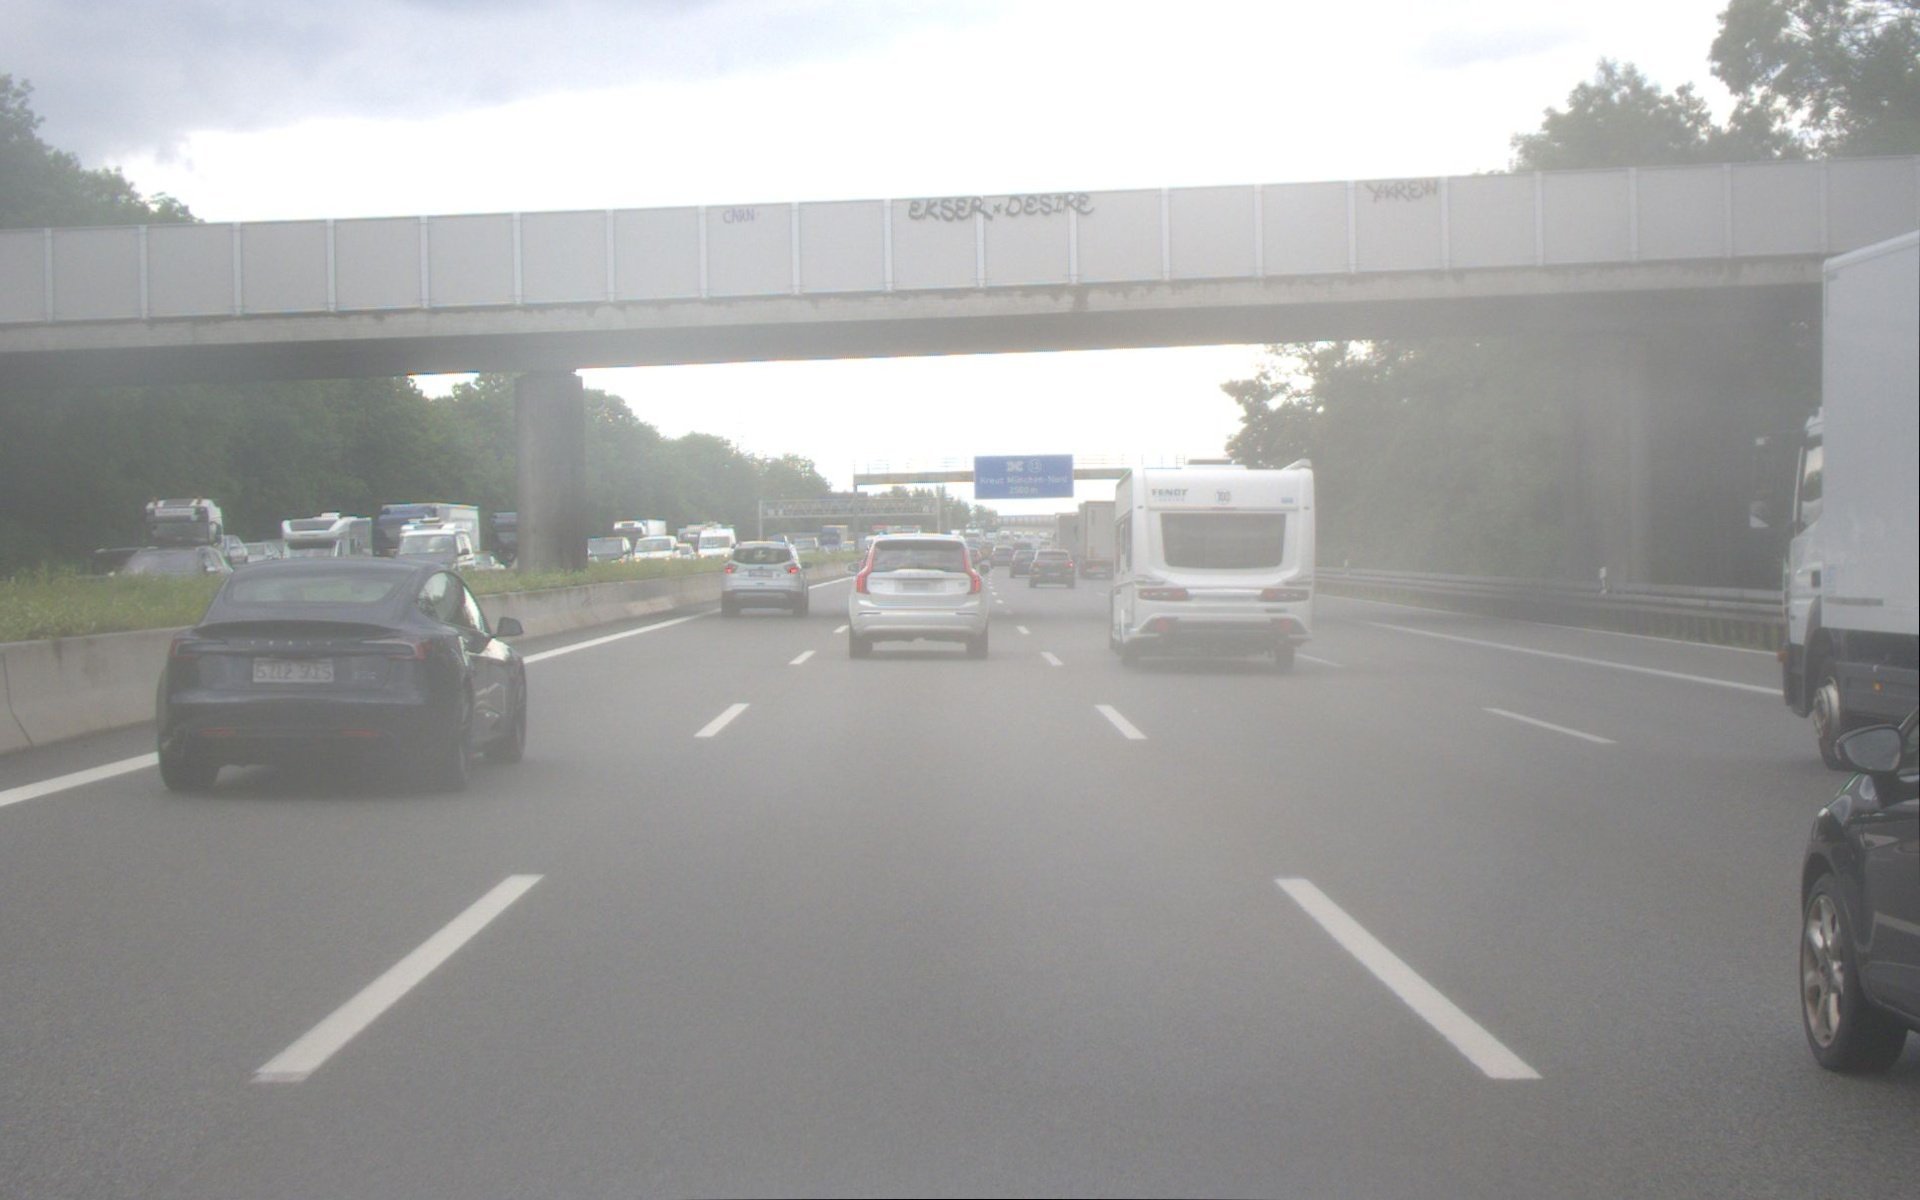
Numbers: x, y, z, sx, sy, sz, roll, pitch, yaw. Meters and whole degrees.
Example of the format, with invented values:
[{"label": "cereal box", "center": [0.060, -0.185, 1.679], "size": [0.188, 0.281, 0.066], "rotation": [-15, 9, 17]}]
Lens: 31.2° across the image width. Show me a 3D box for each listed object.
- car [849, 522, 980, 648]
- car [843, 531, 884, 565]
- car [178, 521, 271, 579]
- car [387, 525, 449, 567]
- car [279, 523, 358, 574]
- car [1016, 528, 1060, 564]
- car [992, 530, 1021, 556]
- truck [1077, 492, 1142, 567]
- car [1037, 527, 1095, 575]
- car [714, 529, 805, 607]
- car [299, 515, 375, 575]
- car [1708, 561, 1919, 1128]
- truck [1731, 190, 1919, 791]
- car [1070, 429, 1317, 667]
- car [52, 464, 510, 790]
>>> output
[{"label": "car", "center": [-0.636, -0.245, 49.155], "size": [1.781, 1.710, 4.353], "rotation": [0, 1, 0]}, {"label": "car", "center": [-4.285, -2.337, 152.785], "size": [1.781, 1.476, 4.353], "rotation": [0, 1, -1]}, {"label": "car", "center": [-25.303, -1.723, 118.389], "size": [2.220, 1.945, 4.829], "rotation": [0, 1, -1]}, {"label": "car", "center": [-25.627, -2.587, 162.784], "size": [2.220, 1.945, 4.829], "rotation": [0, 1, -1]}, {"label": "car", "center": [-24.948, -2.014, 133.800], "size": [2.220, 1.945, 4.829], "rotation": [0, 1, -1]}, {"label": "car", "center": [4.007, -2.775, 177.239], "size": [2.043, 1.817, 4.904], "rotation": [0, 1, -1]}, {"label": "car", "center": [3.282, -4.056, 244.409], "size": [2.043, 1.817, 4.904], "rotation": [0, 1, 0]}, {"label": "truck", "center": [7.699, -3.648, 177.913], "size": [2.906, 3.797, 7.274], "rotation": [0, 1, -1]}, {"label": "car", "center": [4.100, -1.933, 133.785], "size": [2.043, 1.817, 4.904], "rotation": [0, 1, -1]}, {"label": "car", "center": [-4.517, -0.745, 77.907], "size": [1.815, 1.684, 4.852], "rotation": [0, 1, -1]}, {"label": "car", "center": [-21.171, -1.876, 116.965], "size": [1.993, 2.007, 4.001], "rotation": [0, 1, -2]}, {"label": "car", "center": [3.352, 0.625, 8.811], "size": [1.885, 1.402, 4.283], "rotation": [0, 1, -1]}, {"label": "truck", "center": [7.465, -0.670, 21.233], "size": [3.133, 3.697, 9.848], "rotation": [0, 1, 0]}, {"label": "car", "center": [2.957, -0.704, 45.545], "size": [2.567, 2.885, 7.534], "rotation": [0, 1, -1]}, {"label": "car", "center": [-4.136, 0.103, 21.820], "size": [1.993, 1.814, 5.163], "rotation": [0, 1, -1]}]
